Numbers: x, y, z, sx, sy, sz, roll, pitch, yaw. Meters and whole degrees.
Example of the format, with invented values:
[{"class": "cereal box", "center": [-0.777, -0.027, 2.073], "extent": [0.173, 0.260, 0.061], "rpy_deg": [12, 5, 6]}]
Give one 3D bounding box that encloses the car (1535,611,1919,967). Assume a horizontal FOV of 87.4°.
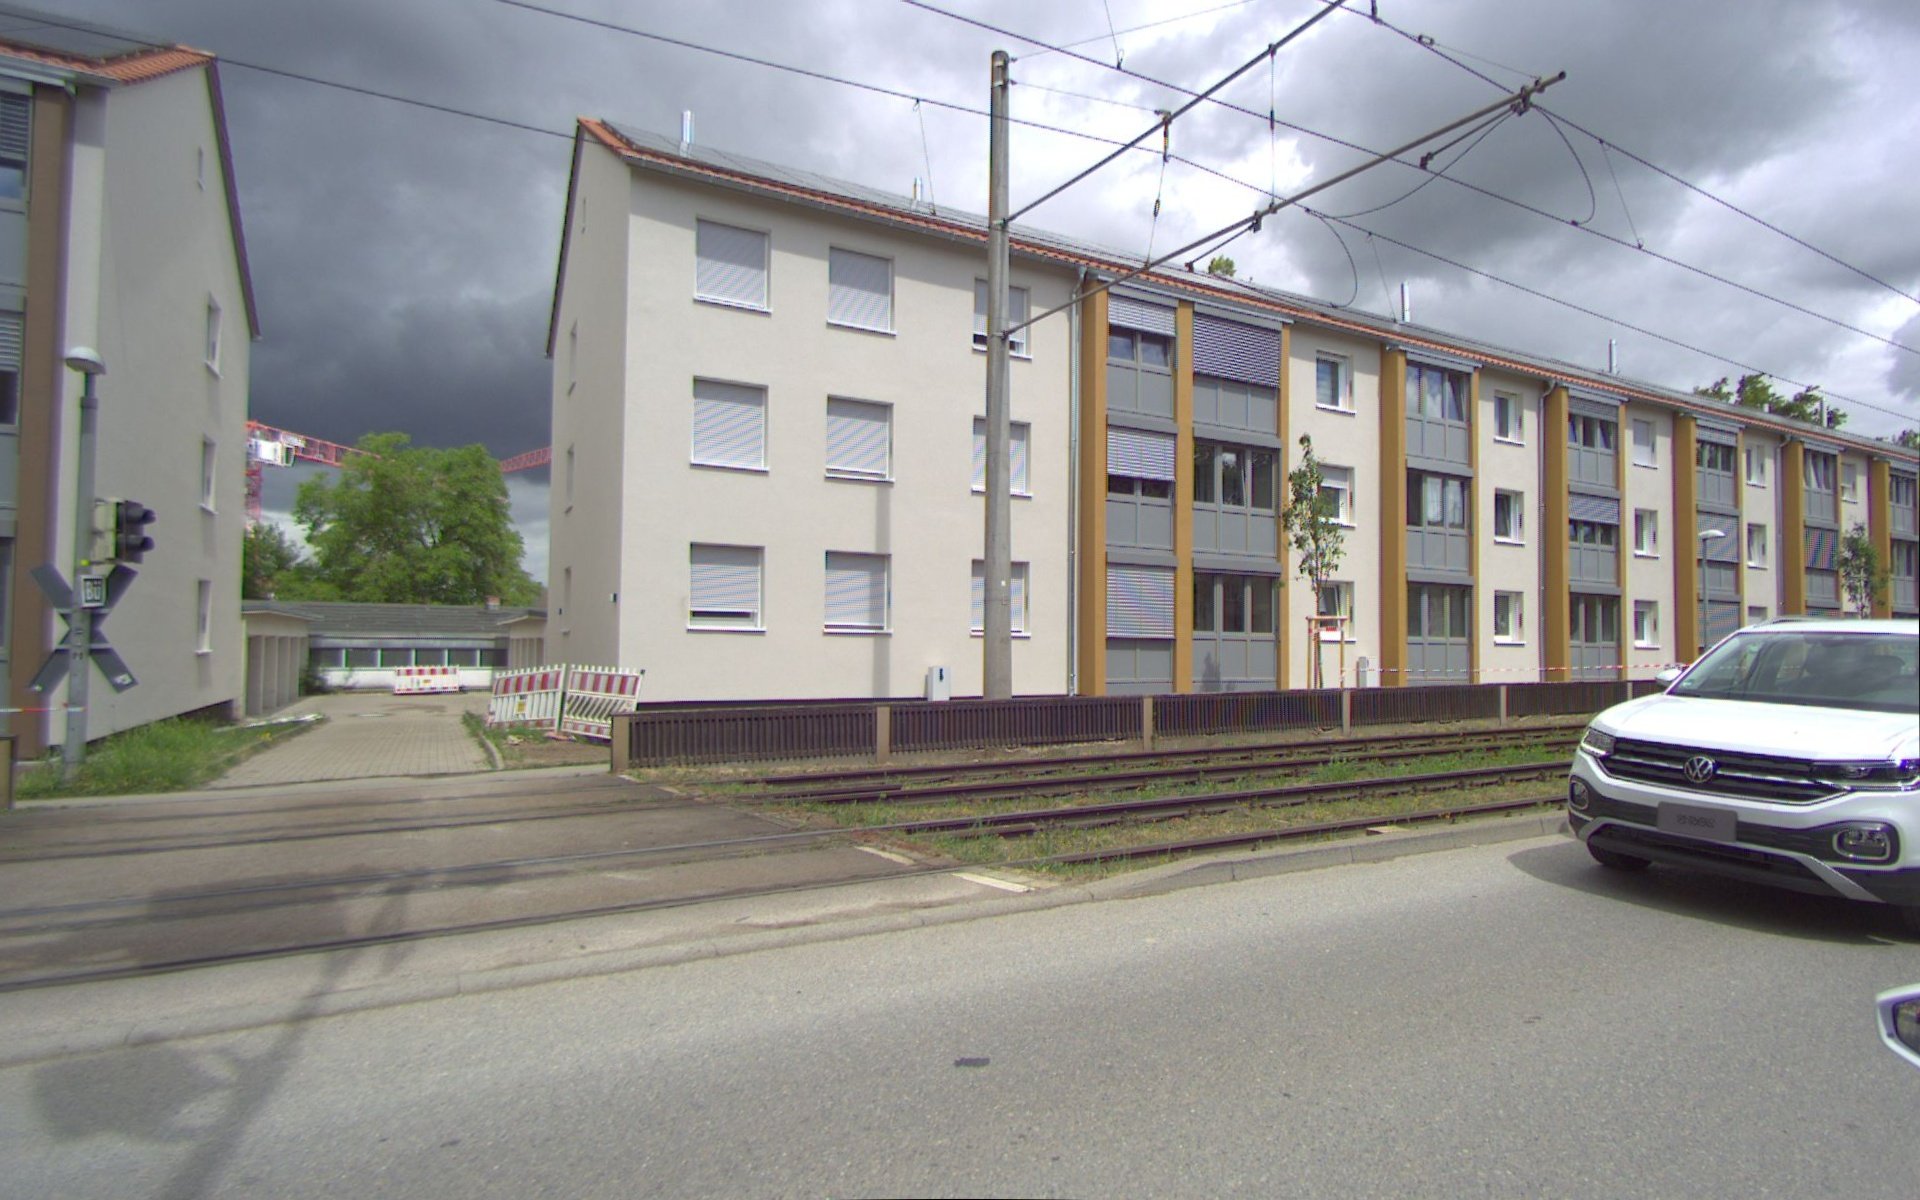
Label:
[{"class": "car", "center": [5.506, 0.884, 6.133], "extent": [3.869, 1.572, 1.711], "rpy_deg": [1, -1, -29]}]
